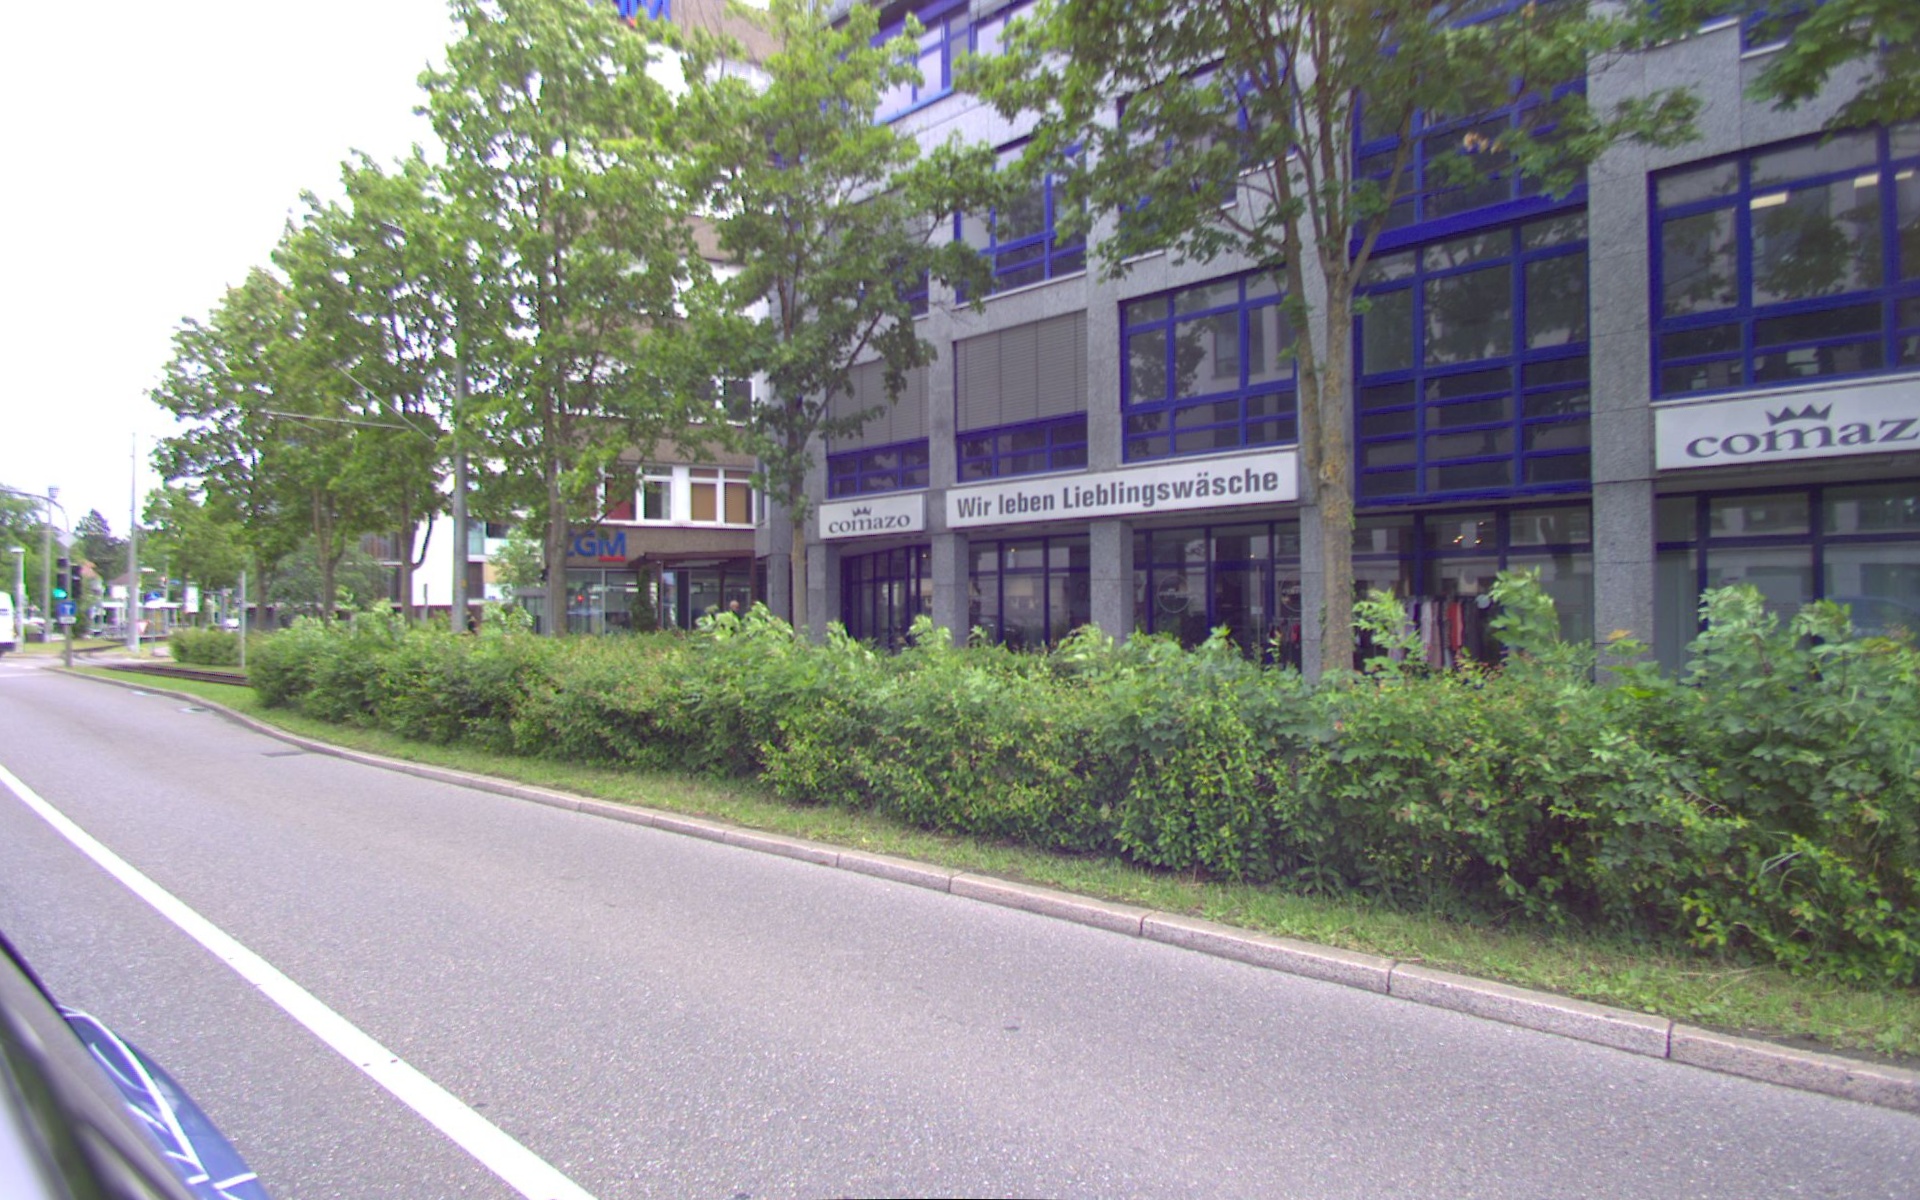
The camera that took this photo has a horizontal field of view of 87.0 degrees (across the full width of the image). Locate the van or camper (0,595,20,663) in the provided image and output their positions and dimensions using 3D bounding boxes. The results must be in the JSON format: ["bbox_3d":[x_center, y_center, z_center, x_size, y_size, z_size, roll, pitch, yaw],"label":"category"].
[{"bbox_3d":[-42.056,1.206,41.296,6.080,2.754,2.109,0,0,8],"label":"van or camper"}]

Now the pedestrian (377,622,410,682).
[{"bbox_3d":[-17.689,1.602,31.609,0.730,1.819,0.672,-1,0,37],"label":"pedestrian"}]

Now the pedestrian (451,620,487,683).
[{"bbox_3d":[-15.510,1.608,31.951,0.731,1.938,0.805,-1,0,40],"label":"pedestrian"}]

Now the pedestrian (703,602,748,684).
[{"bbox_3d":[-5.592,1.016,24.166,0.731,1.908,0.766,-1,0,40],"label":"pedestrian"}]
